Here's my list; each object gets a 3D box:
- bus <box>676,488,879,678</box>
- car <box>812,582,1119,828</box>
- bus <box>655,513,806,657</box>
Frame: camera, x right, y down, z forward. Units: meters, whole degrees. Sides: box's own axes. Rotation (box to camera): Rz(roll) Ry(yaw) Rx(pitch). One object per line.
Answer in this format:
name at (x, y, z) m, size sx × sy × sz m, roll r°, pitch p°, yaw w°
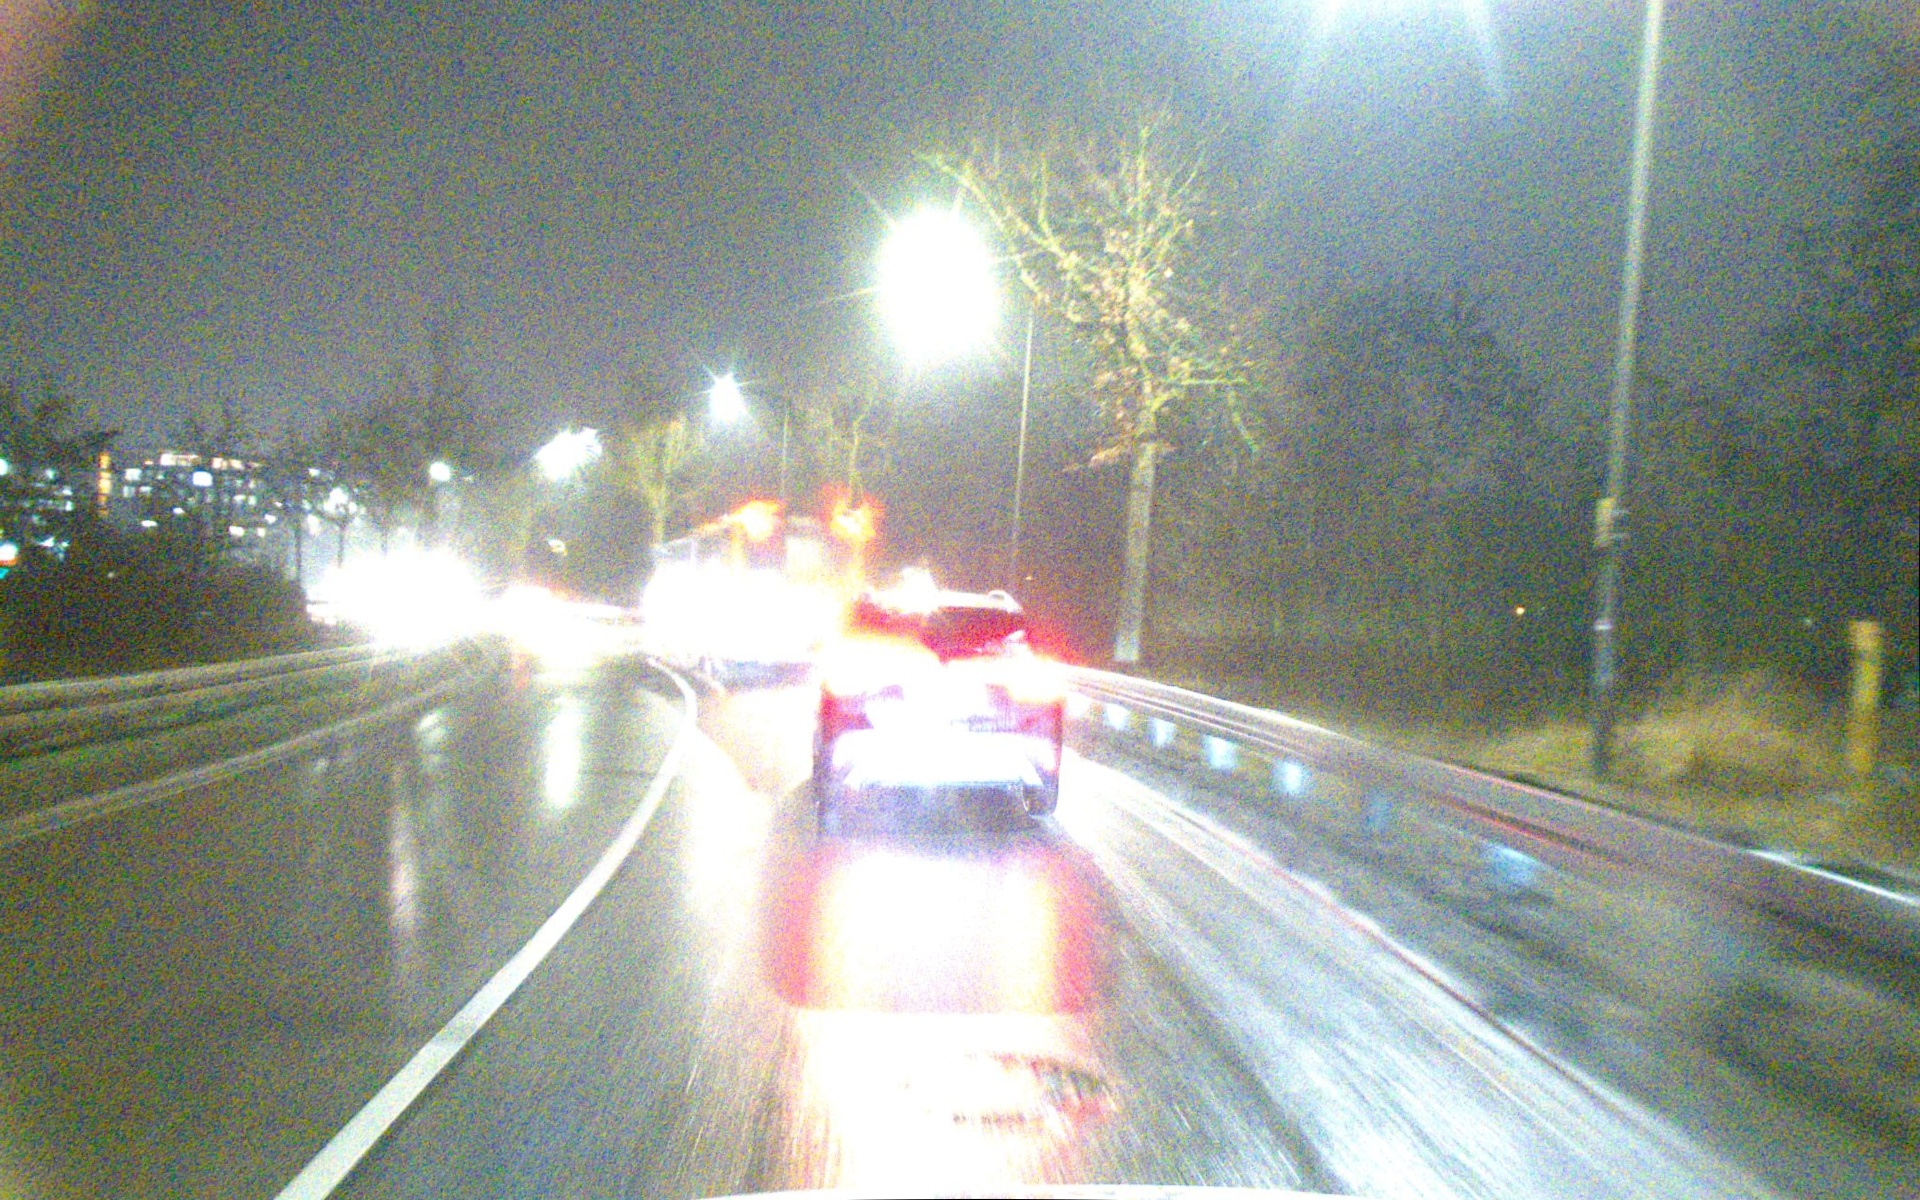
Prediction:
bus at (-3.922, -0.313, 33.323) m, size 2.991 × 3.268 × 9.019 m, roll 0°, pitch 0°, yaw -13°
car at (-0.088, 0.676, 12.694) m, size 1.954 × 1.551 × 3.997 m, roll 1°, pitch 0°, yaw -4°
bus at (-6.030, -0.361, 42.128) m, size 2.991 × 3.268 × 9.019 m, roll 0°, pitch 0°, yaw -13°
